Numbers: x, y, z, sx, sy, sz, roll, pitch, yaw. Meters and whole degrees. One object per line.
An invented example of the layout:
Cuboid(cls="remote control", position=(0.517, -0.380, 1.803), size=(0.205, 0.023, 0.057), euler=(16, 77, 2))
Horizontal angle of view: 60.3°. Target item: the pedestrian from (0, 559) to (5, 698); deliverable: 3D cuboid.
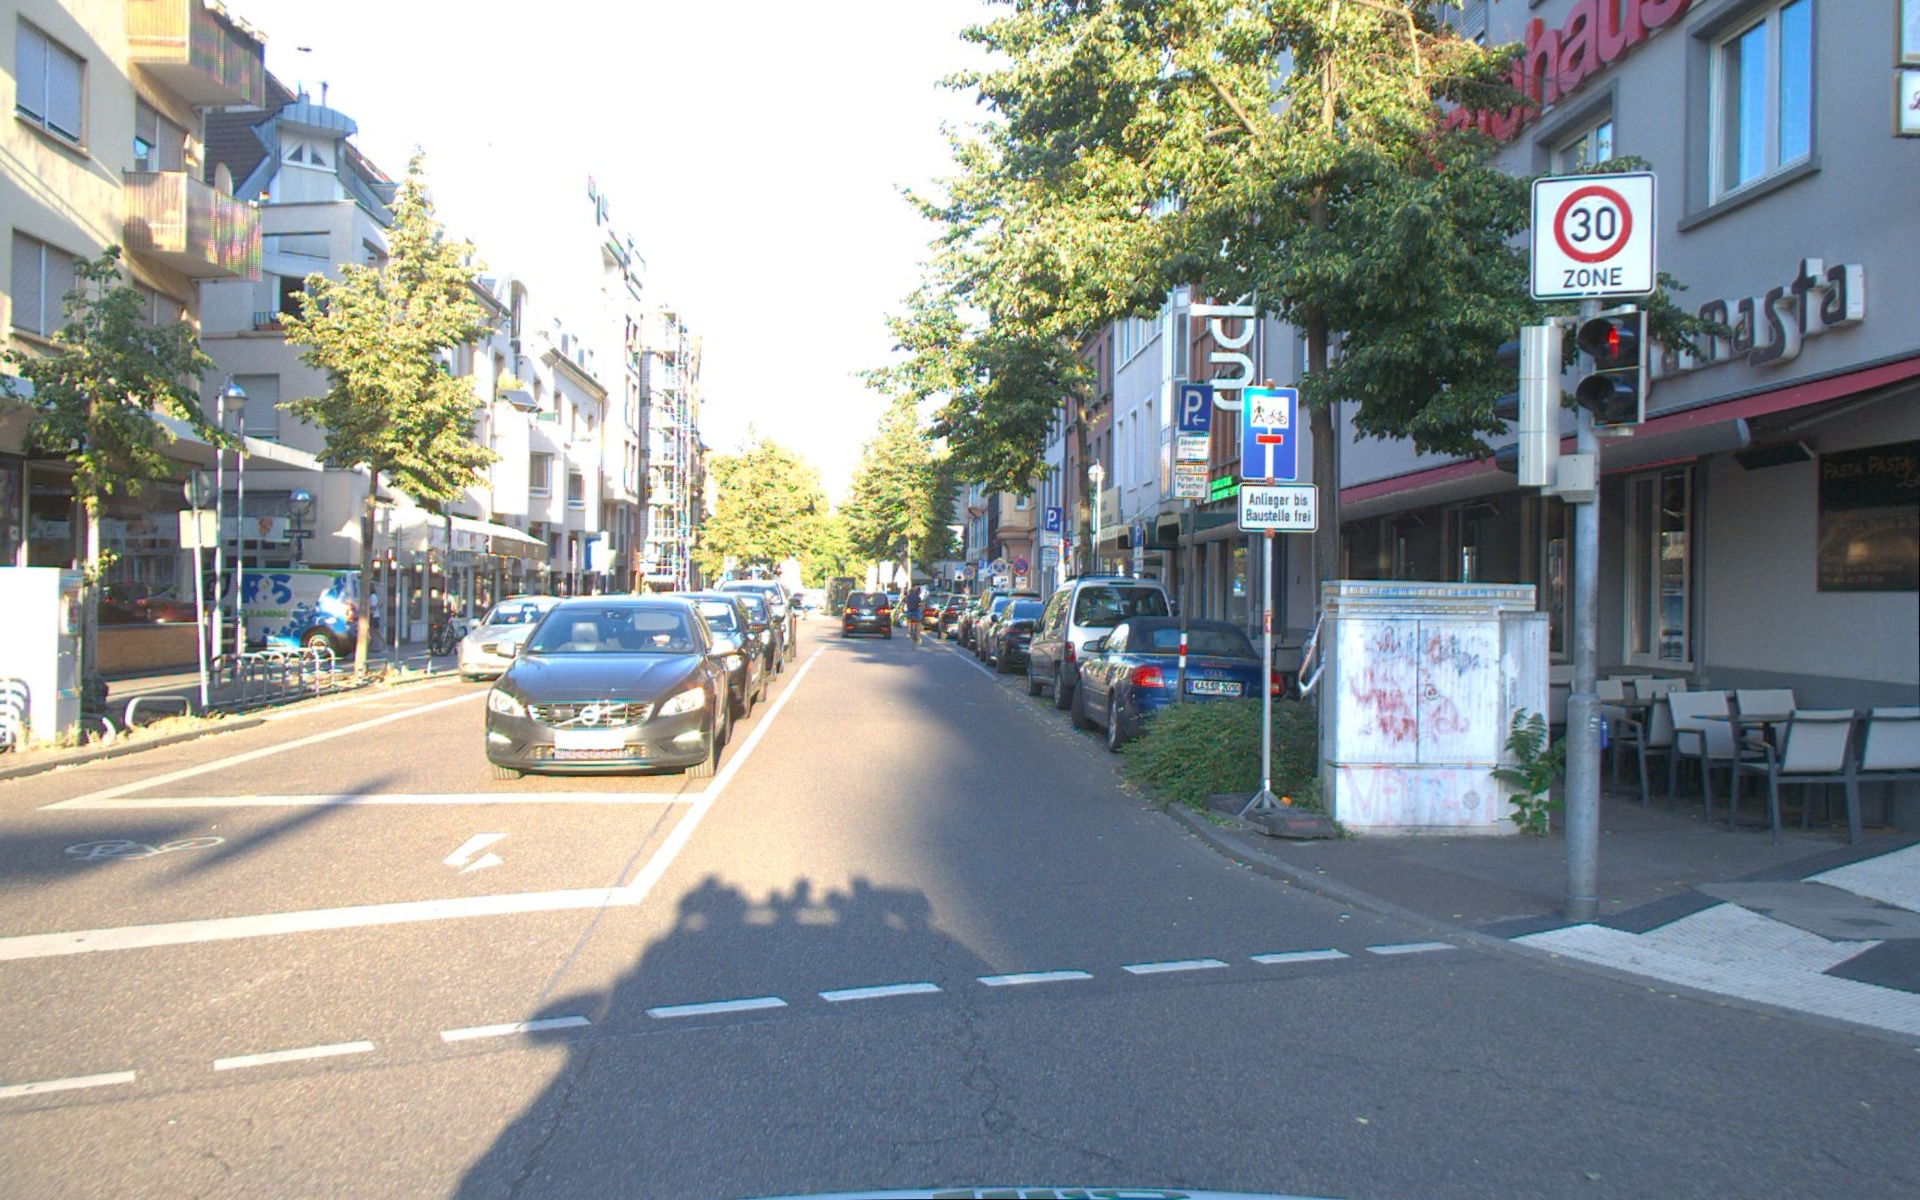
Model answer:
Cuboid(cls="pedestrian", position=(-13.179, 0.384, 21.792), size=(0.725, 1.850, 0.813), euler=(1, 0, -1))

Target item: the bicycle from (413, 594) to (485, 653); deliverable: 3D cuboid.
Cuboid(cls="bicycle", position=(-12.079, 0.546, 39.210), size=(0.940, 1.323, 3.123), euler=(2, -1, -5))

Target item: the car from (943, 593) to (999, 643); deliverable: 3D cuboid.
Cuboid(cls="car", position=(0.366, 0.665, 60.933), size=(1.776, 1.697, 4.203), euler=(2, -1, -3))

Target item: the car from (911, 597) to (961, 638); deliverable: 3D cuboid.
Cuboid(cls="car", position=(-1.108, 0.770, 74.088), size=(1.790, 1.725, 4.362), euler=(2, -1, -6))

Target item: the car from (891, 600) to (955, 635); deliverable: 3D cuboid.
Cuboid(cls="car", position=(-1.802, 0.829, 80.209), size=(2.912, 1.563, 1.431), euler=(2, -1, -8))

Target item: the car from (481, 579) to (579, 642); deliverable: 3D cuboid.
Cuboid(cls="car", position=(-10.725, 0.274, 41.488), size=(1.628, 1.427, 3.880), euler=(2, -1, -4))

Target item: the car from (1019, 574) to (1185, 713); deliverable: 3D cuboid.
Cuboid(cls="car", position=(1.981, 0.569, 24.248), size=(1.623, 1.809, 4.006), euler=(2, 0, -6))

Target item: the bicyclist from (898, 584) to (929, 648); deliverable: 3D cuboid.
Cuboid(cls="bicyclist", position=(-1.286, 0.438, 45.594), size=(0.765, 1.726, 1.006), euler=(0, -1, -6))

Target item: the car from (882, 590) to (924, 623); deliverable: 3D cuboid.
Cuboid(cls="car", position=(-3.727, 0.417, 107.245), size=(2.223, 1.796, 4.503), euler=(7, -1, -6))

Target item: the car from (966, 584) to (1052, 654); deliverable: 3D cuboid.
Cuboid(cls="car", position=(1.299, 0.522, 46.004), size=(1.846, 1.785, 5.054), euler=(2, -1, -4))

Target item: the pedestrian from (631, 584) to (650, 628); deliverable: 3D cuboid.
Cuboid(cls="pedestrian", position=(-13.210, 0.253, 68.461), size=(0.704, 1.771, 0.736), euler=(2, -1, -11))

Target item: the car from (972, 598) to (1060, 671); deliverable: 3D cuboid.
Cuboid(cls="car", position=(1.278, 0.802, 39.680), size=(1.775, 1.554, 4.991), euler=(2, -1, -1))

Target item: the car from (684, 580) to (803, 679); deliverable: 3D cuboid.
Cuboid(cls="car", position=(-3.663, 0.500, 28.607), size=(1.689, 1.577, 4.462), euler=(0, -1, -3))

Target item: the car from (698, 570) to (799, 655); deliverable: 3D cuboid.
Cuboid(cls="car", position=(-4.405, 0.263, 35.019), size=(1.902, 1.674, 4.734), euler=(0, -1, -5))

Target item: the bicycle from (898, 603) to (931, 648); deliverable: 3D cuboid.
Cuboid(cls="bicycle", position=(-1.275, 0.698, 45.636), size=(0.765, 1.225, 2.018), euler=(0, -1, -6))

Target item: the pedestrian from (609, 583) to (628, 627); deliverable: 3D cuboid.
Cuboid(cls="pedestrian", position=(-14.090, 0.206, 68.303), size=(0.704, 1.798, 0.692), euler=(2, -1, -11))

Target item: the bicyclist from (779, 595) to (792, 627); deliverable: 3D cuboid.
Cuboid(cls="bicyclist", position=(-10.478, 0.664, 99.525), size=(0.765, 1.861, 1.006), euler=(0, -1, -6))

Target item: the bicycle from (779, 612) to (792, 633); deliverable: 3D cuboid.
Cuboid(cls="bicycle", position=(-10.504, 1.364, 99.562), size=(0.765, 1.225, 2.018), euler=(0, -1, -6))

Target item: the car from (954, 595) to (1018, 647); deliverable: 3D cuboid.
Cuboid(cls="car", position=(0.804, 0.670, 52.914), size=(1.727, 1.509, 4.304), euler=(2, -1, -3))

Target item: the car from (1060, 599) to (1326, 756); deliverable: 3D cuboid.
Cuboid(cls="car", position=(2.347, 0.738, 17.784), size=(1.899, 1.400, 4.178), euler=(3, 0, -5))

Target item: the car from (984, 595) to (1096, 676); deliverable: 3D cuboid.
Cuboid(cls="car", position=(1.567, 0.666, 33.773), size=(1.718, 1.445, 4.506), euler=(2, 0, -4))

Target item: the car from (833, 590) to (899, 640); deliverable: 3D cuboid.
Cuboid(cls="car", position=(-3.284, 0.534, 58.659), size=(1.953, 1.629, 4.509), euler=(2, -1, 1))

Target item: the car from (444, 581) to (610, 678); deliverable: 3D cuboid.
Cuboid(cls="car", position=(-7.576, 0.504, 29.365), size=(1.954, 1.538, 4.506), euler=(-1, -1, -3))

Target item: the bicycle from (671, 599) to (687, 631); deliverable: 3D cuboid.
Cuboid(cls="bicycle", position=(-13.238, 0.697, 77.913), size=(0.574, 1.420, 3.152), euler=(2, -1, -12))

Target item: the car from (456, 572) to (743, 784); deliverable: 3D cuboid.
Cuboid(cls="car", position=(-2.983, 0.592, 14.640), size=(1.920, 1.574, 4.504), euler=(1, 0, -5))

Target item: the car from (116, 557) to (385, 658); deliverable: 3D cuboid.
Cuboid(cls="car", position=(-14.861, 0.171, 34.906), size=(4.776, 1.860, 1.995), euler=(3, -1, -10))

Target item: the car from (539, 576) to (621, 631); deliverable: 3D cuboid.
Cuboid(cls="car", position=(-11.136, 0.128, 48.674), size=(1.677, 1.479, 3.722), euler=(2, -1, -3))

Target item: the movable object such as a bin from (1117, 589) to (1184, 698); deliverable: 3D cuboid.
Cuboid(cls="movable object such as a bin", position=(3.245, 0.732, 28.220), size=(0.819, 1.805, 1.204), euler=(2, -1, -7))

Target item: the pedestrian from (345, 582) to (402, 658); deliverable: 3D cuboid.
Cuboid(cls="pedestrian", position=(-13.560, 0.445, 38.266), size=(0.885, 1.705, 0.993), euler=(1, 1, 3))

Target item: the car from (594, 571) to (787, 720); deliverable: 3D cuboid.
Cuboid(cls="car", position=(-3.283, 0.541, 21.018), size=(1.907, 1.674, 4.612), euler=(0, -1, -3))

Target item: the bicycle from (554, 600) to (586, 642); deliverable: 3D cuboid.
Cuboid(cls="bicycle", position=(-13.221, 0.708, 56.109), size=(0.598, 1.399, 2.357), euler=(2, -1, -4))
